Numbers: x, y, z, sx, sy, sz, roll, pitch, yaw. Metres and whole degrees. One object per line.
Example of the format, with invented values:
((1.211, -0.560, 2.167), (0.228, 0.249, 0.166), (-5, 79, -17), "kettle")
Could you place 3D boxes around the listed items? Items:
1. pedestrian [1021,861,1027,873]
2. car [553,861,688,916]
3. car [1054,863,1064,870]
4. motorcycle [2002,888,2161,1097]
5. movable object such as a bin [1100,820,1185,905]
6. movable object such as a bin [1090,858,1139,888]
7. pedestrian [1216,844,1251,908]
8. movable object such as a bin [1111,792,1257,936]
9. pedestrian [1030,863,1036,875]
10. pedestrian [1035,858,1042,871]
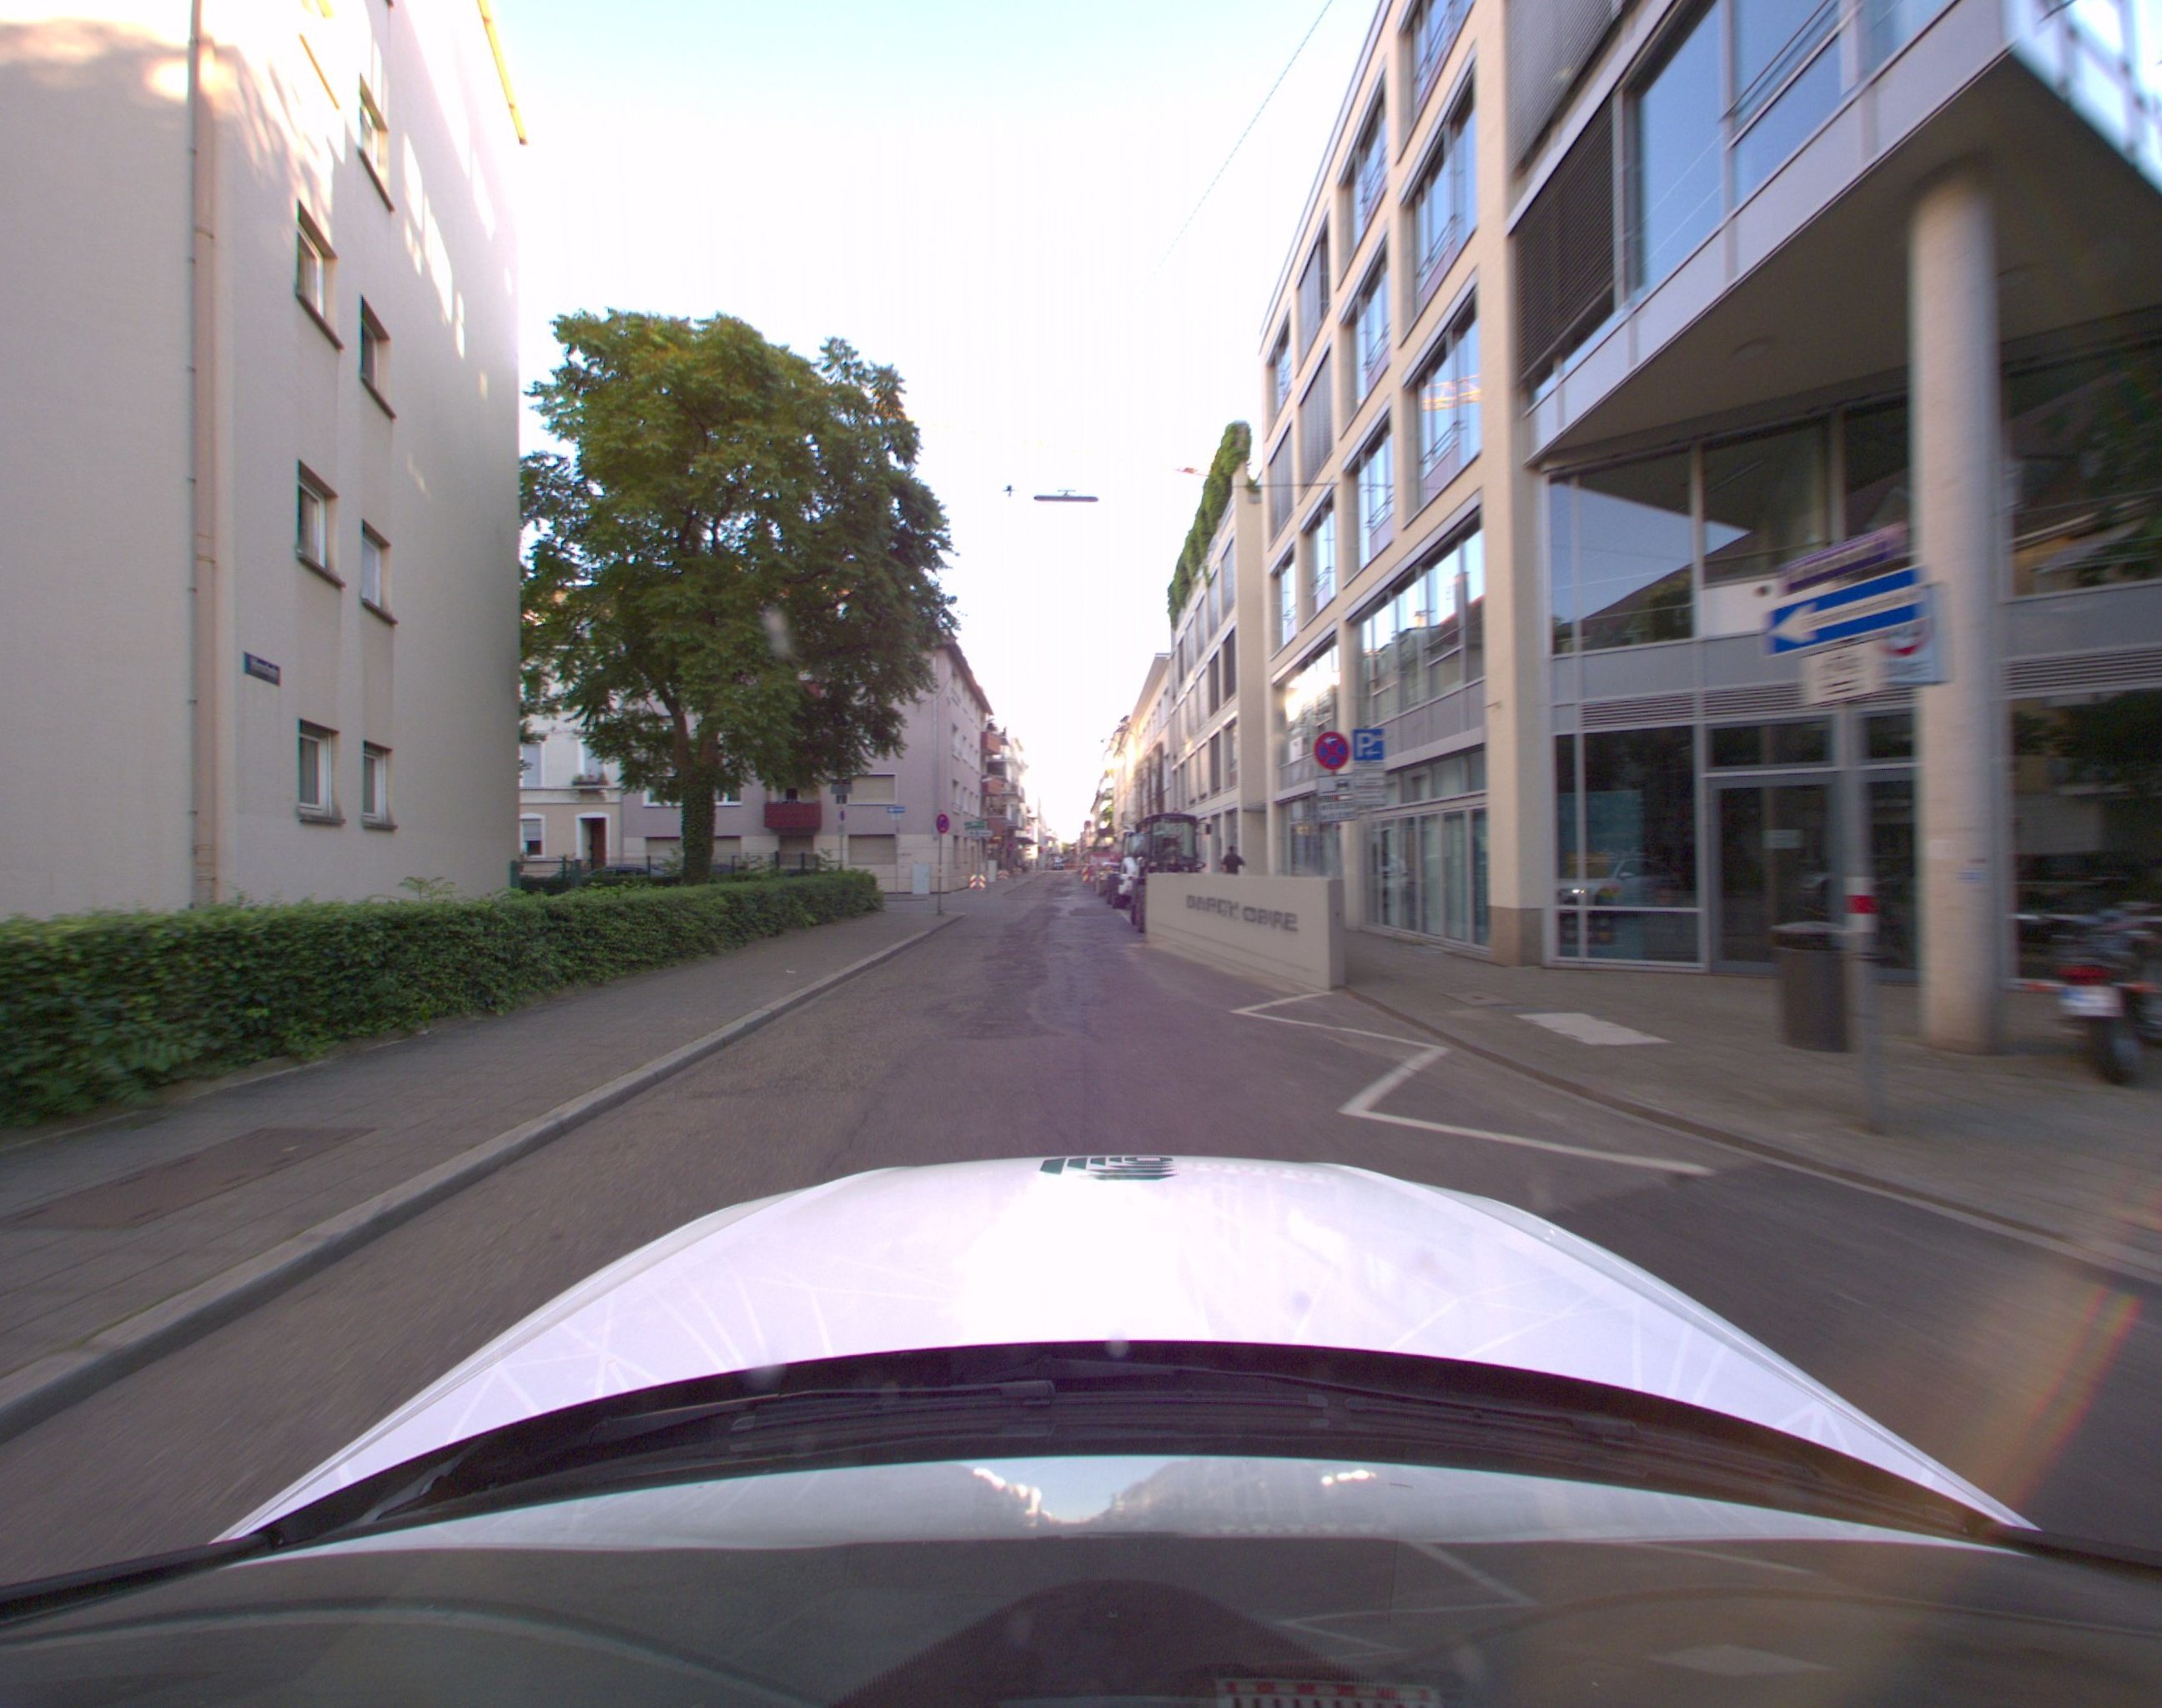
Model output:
((-6.932, 1.541, 98.869), (0.662, 1.438, 0.533), (-1, -1, 2), "pedestrian")
((-15.776, 1.145, 28.062), (3.514, 1.757, 1.883), (0, 1, -4), "car")
((-3.682, 2.001, 135.207), (1.534, 1.134, 3.116), (-1, 0, -4), "car")
((7.237, 0.874, 5.810), (2.317, 1.172, 0.552), (-1, -1, -34), "motorcycle")
((1.904, 0.269, 26.772), (2.271, 2.540, 4.093), (-1, 0, -3), "movable object such as a bin")
((1.609, 0.908, 40.292), (2.041, 1.411, 3.970), (-1, 0, -3), "movable object such as a bin")
((4.469, 0.640, 23.907), (0.884, 1.851, 0.876), (-1, -1, 1), "pedestrian")
((2.048, 0.200, 18.175), (2.271, 2.692, 5.642), (-1, 0, -3), "movable object such as a bin")
((-6.490, 1.967, 109.924), (0.794, 1.594, 0.744), (-1, -1, 1), "pedestrian")
((-5.446, 1.380, 105.108), (0.794, 1.661, 0.744), (-1, 0, 1), "pedestrian")
